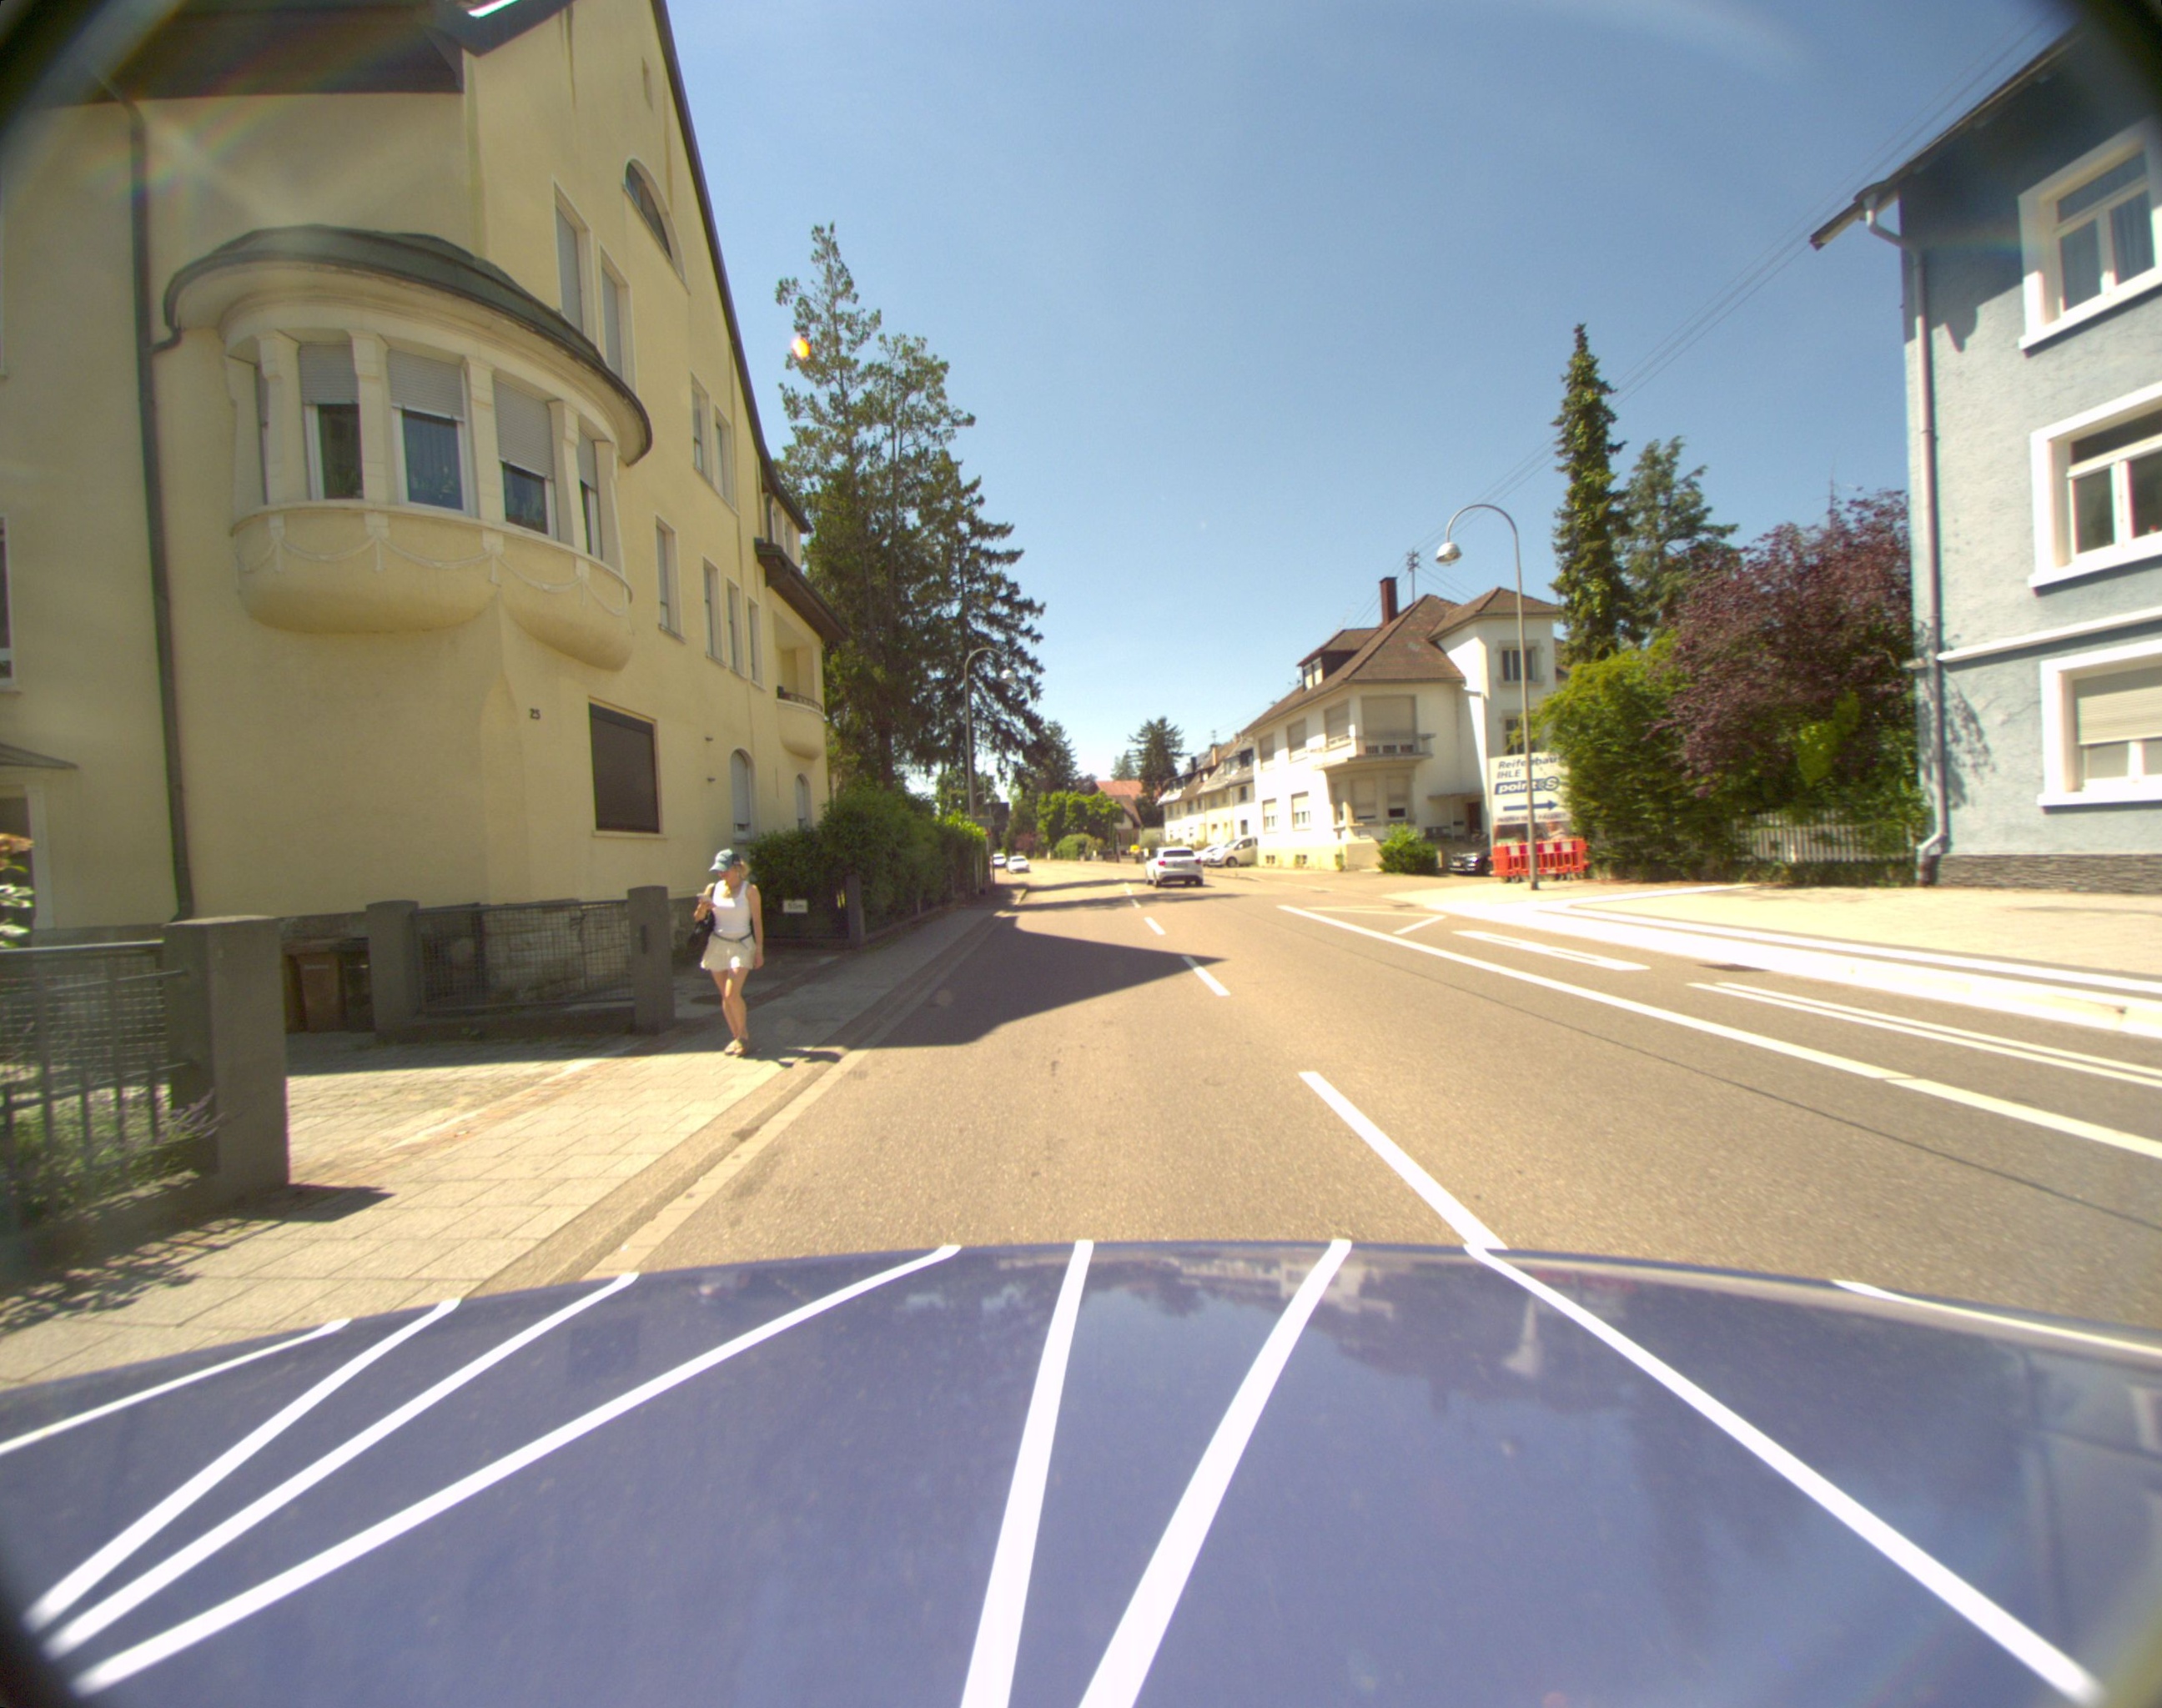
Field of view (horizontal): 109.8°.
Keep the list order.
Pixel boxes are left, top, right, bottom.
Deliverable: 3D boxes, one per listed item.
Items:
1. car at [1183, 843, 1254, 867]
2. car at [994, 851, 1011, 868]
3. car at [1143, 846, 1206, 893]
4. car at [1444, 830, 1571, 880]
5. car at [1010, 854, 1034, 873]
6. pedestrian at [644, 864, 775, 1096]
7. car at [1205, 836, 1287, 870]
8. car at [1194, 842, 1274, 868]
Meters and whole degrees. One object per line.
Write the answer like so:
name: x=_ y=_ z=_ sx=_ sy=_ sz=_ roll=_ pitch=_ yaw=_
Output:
car: x=9.139 y=0.084 z=50.534 sx=4.264 sy=1.486 sz=1.880 roll=-1 pitch=0 yaw=25
car: x=-9.386 y=0.657 z=90.984 sx=1.689 sy=1.770 sz=3.937 roll=-4 pitch=3 yaw=-4
car: x=3.583 y=0.543 z=29.618 sx=1.825 sy=1.521 sz=3.948 roll=-3 pitch=2 yaw=-1
car: x=16.058 y=0.045 z=28.685 sx=3.934 sy=1.529 sz=1.565 roll=-3 pitch=-5 yaw=-9
car: x=-5.184 y=0.799 z=66.153 sx=1.690 sy=1.446 sz=3.736 roll=-4 pitch=1 yaw=-8
pedestrian: x=-2.815 y=0.915 z=5.828 sx=0.625 sy=1.634 sz=0.771 roll=2 pitch=1 yaw=-4
car: x=9.745 y=-0.060 z=45.036 sx=4.367 sy=1.866 sz=1.848 roll=-1 pitch=0 yaw=-13
car: x=9.524 y=0.086 z=47.475 sx=4.484 sy=1.486 sz=1.975 roll=-1 pitch=0 yaw=-5
